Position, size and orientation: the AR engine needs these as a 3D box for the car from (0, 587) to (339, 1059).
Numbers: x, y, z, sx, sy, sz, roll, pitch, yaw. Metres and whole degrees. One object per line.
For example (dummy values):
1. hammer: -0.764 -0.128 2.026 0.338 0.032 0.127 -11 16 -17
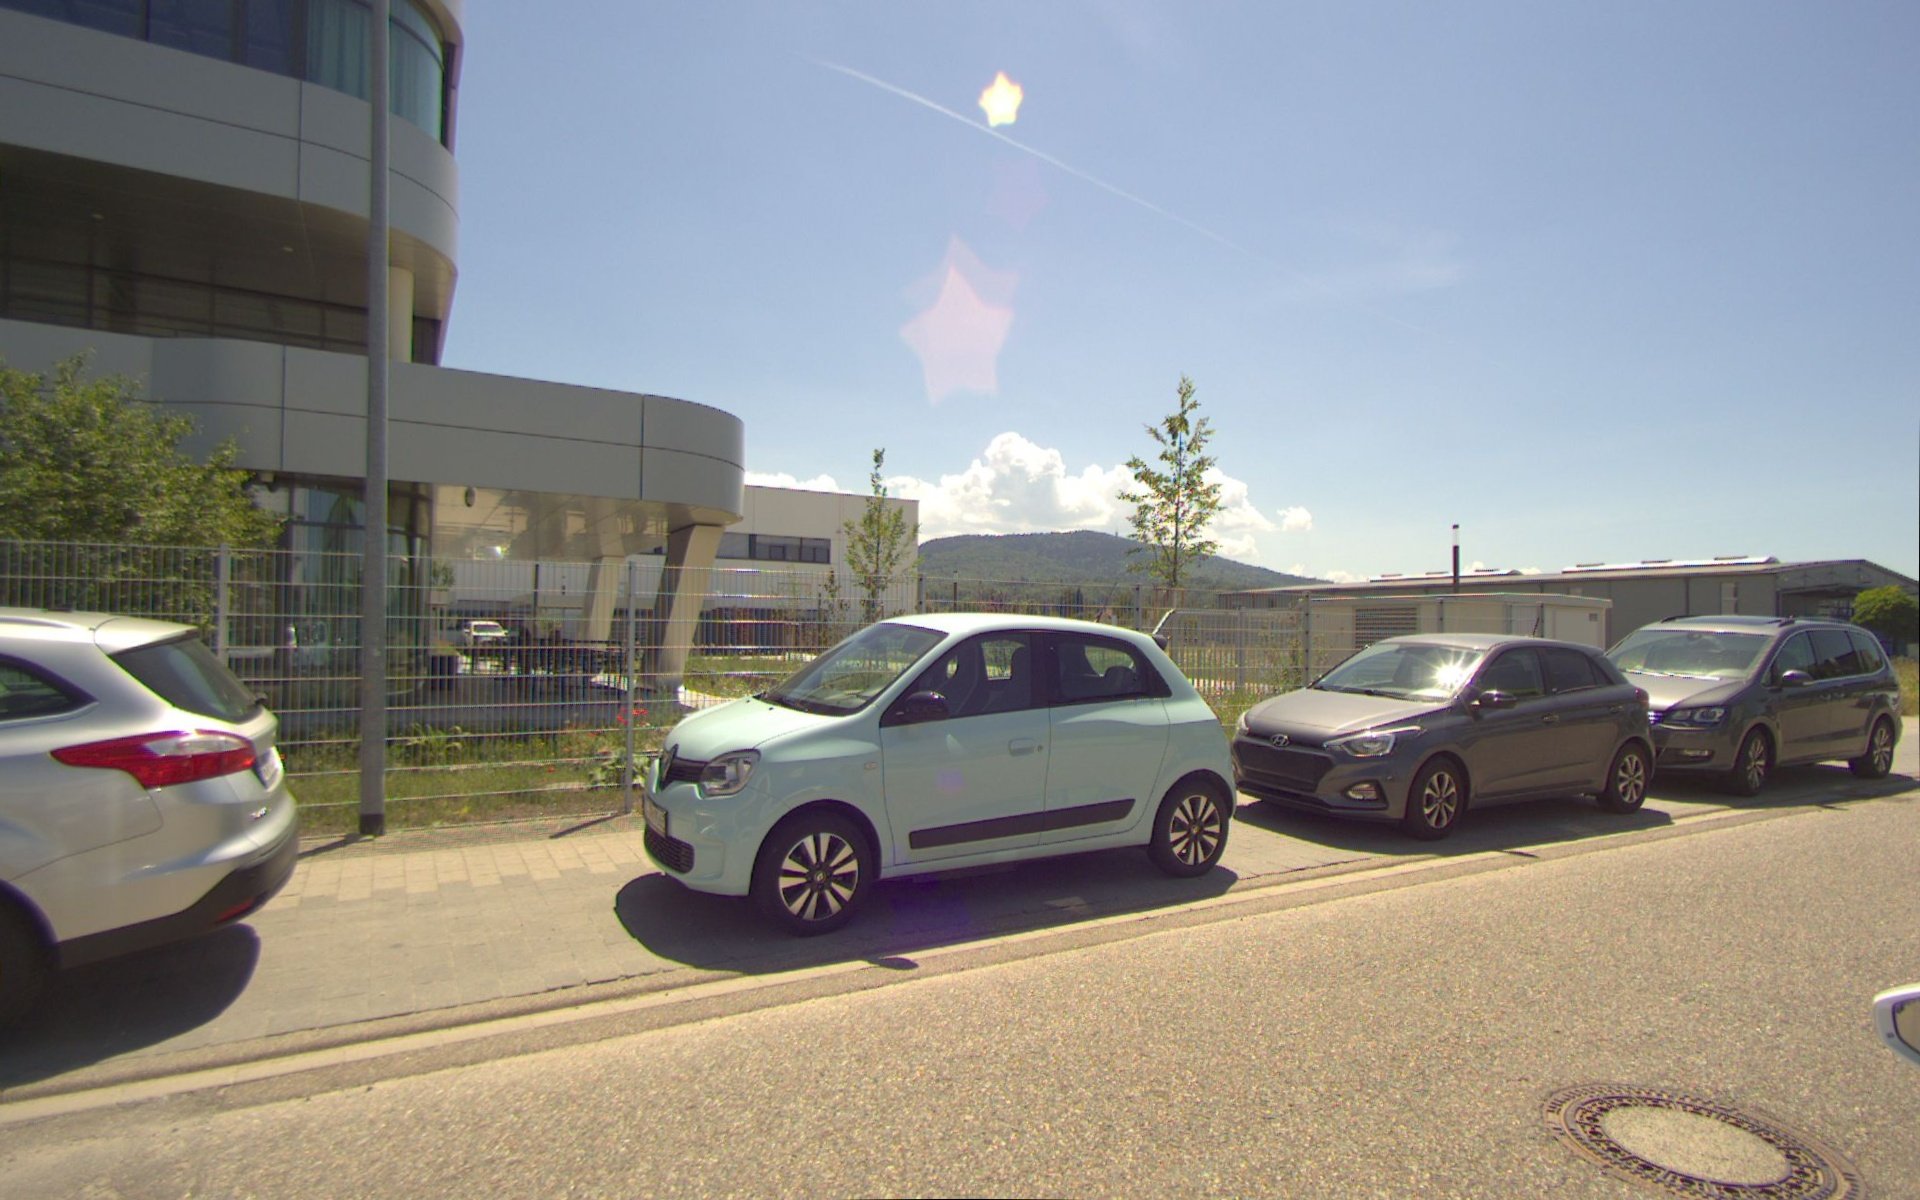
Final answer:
1. car: -4.759 0.693 3.327 4.520 1.556 1.694 2 -1 -31

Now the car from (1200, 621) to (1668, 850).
1. car: 4.084 0.997 8.517 3.924 1.520 1.627 2 -1 -30

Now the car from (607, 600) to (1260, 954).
1. car: -0.082 0.834 6.082 3.616 1.556 1.626 2 -1 -31

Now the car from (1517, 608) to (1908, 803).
1. car: 8.299 1.021 10.974 4.568 1.742 1.794 2 -1 -31

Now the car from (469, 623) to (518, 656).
1. car: -23.456 1.991 50.416 1.900 1.606 3.969 2 -2 -30
